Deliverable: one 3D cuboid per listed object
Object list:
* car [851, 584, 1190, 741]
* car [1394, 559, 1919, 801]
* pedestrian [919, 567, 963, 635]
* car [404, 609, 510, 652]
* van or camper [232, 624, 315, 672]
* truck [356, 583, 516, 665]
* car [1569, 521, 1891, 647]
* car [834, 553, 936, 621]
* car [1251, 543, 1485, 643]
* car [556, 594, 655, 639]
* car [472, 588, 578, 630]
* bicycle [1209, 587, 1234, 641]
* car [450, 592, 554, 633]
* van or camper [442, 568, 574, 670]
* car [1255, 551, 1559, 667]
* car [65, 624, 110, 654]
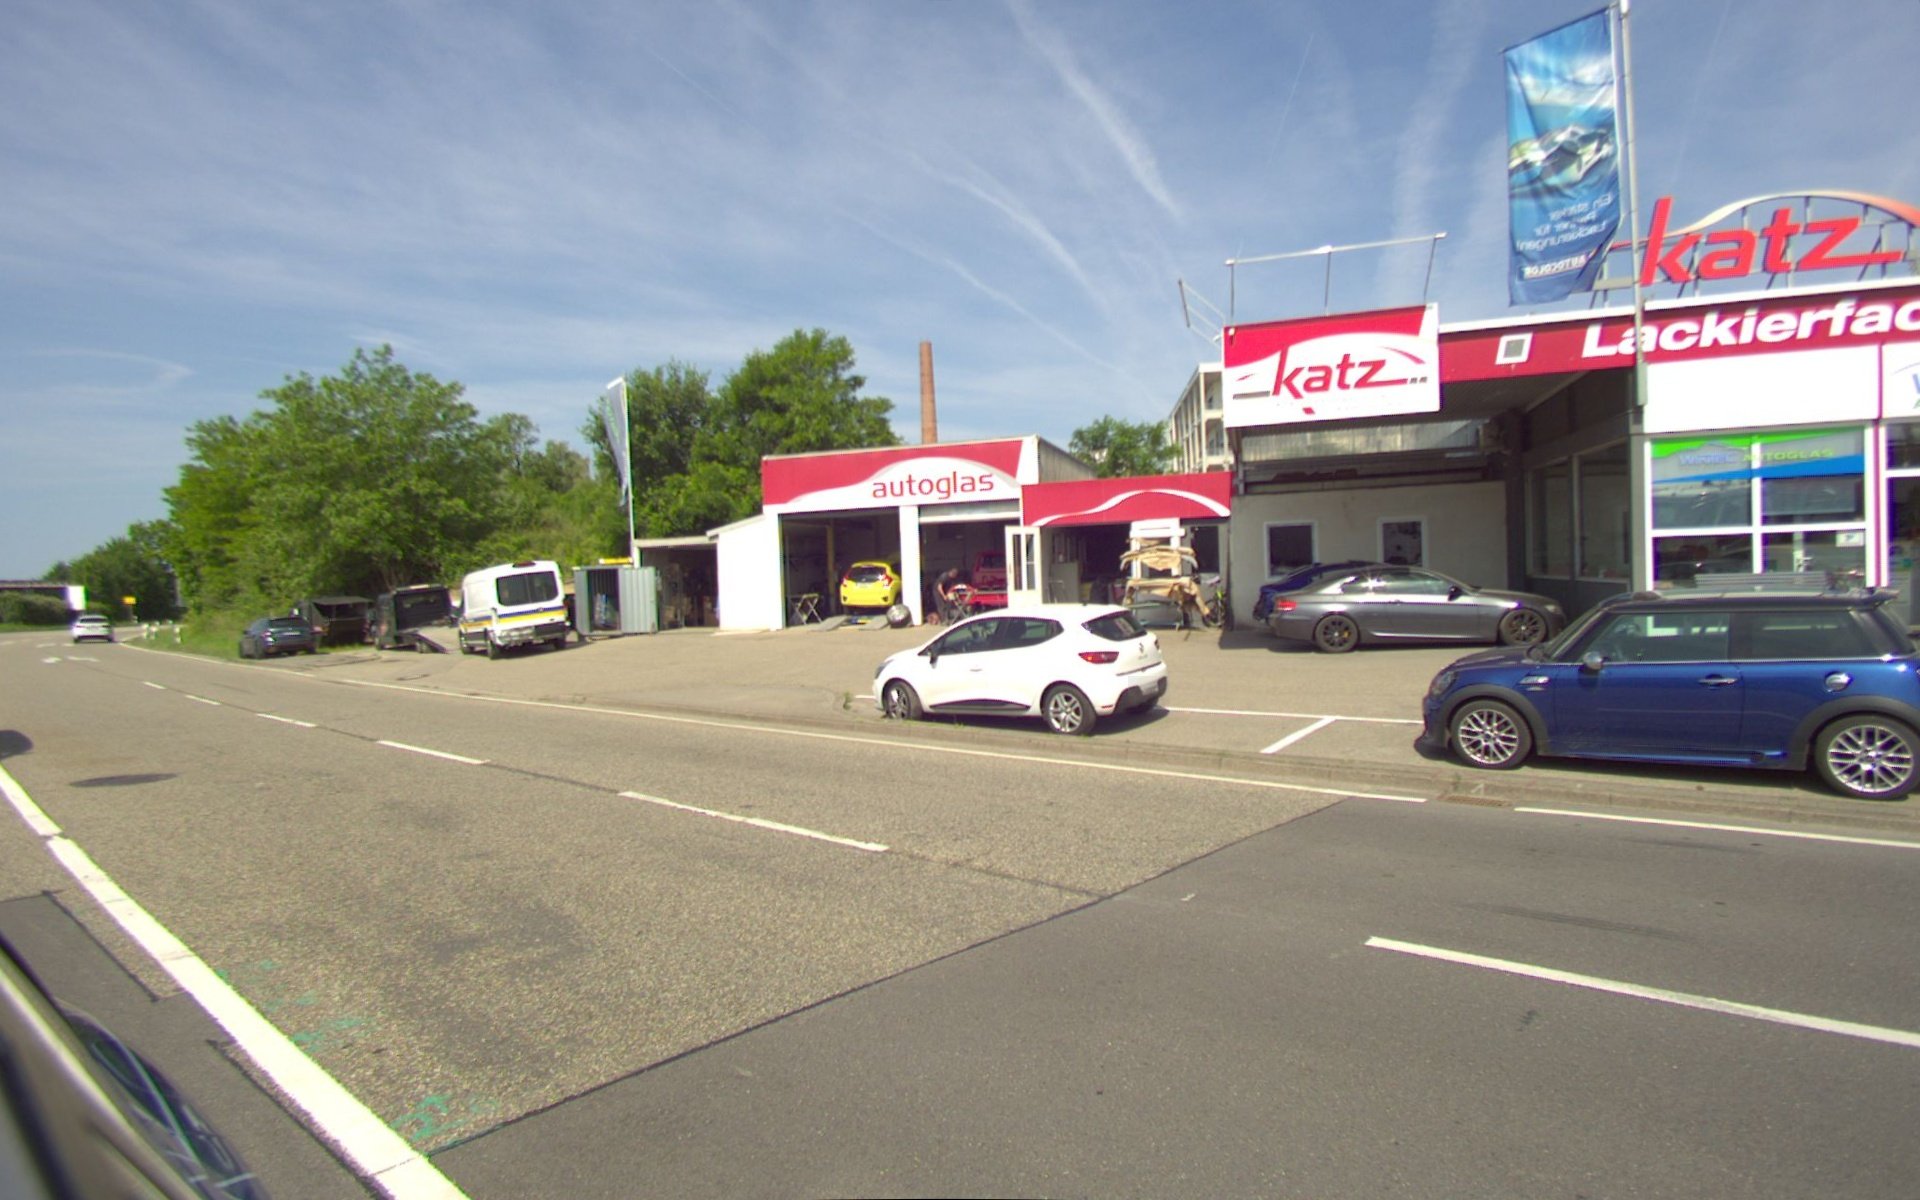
[{"bbox_3d":[0.654,0.695,12.761,3.998,1.630,1.761,-1,1,41],"label":"car"},{"bbox_3d":[5.880,0.545,8.417,3.780,1.504,1.762,-1,5,41],"label":"car"},{"bbox_3d":[-0.502,0.016,27.095,0.895,1.775,0.714,-1,1,43],"label":"pedestrian"},{"bbox_3d":[-20.554,1.212,41.518,1.706,1.522,3.644,-2,1,22],"label":"car"},{"bbox_3d":[-24.968,1.684,36.744,4.469,1.535,1.621,-1,2,45],"label":"van or camper"},{"bbox_3d":[-18.516,0.806,35.405,2.305,2.313,8.809,-9,5,-44],"label":"truck"},{"bbox_3d":[12.231,-0.271,16.334,3.726,1.771,1.697,-2,4,15],"label":"car"},{"bbox_3d":[-2.162,-0.440,30.103,1.725,1.737,3.652,-2,4,17],"label":"car"},{"bbox_3d":[7.823,-0.145,19.807,3.965,1.515,1.851,-4,4,16],"label":"car"},{"bbox_3d":[-13.382,0.595,38.417,1.724,1.541,3.651,-2,1,17],"label":"car"},{"bbox_3d":[-17.123,0.335,40.004,1.728,1.480,3.644,-2,1,22],"label":"car"},{"bbox_3d":[5.802,0.288,22.390,0.412,0.978,1.988,-1,5,18],"label":"bicycle"},{"bbox_3d":[-18.616,0.475,41.315,1.728,1.480,3.644,-2,1,22],"label":"car"},{"bbox_3d":[-13.283,0.509,29.475,2.126,2.517,5.964,-7,3,-36],"label":"van or camper"},{"bbox_3d":[7.265,0.142,16.951,4.359,1.515,1.850,-4,2,17],"label":"car"},{"bbox_3d":[-51.732,2.273,59.988,1.912,1.687,4.004,0,-1,-43],"label":"car"}]
